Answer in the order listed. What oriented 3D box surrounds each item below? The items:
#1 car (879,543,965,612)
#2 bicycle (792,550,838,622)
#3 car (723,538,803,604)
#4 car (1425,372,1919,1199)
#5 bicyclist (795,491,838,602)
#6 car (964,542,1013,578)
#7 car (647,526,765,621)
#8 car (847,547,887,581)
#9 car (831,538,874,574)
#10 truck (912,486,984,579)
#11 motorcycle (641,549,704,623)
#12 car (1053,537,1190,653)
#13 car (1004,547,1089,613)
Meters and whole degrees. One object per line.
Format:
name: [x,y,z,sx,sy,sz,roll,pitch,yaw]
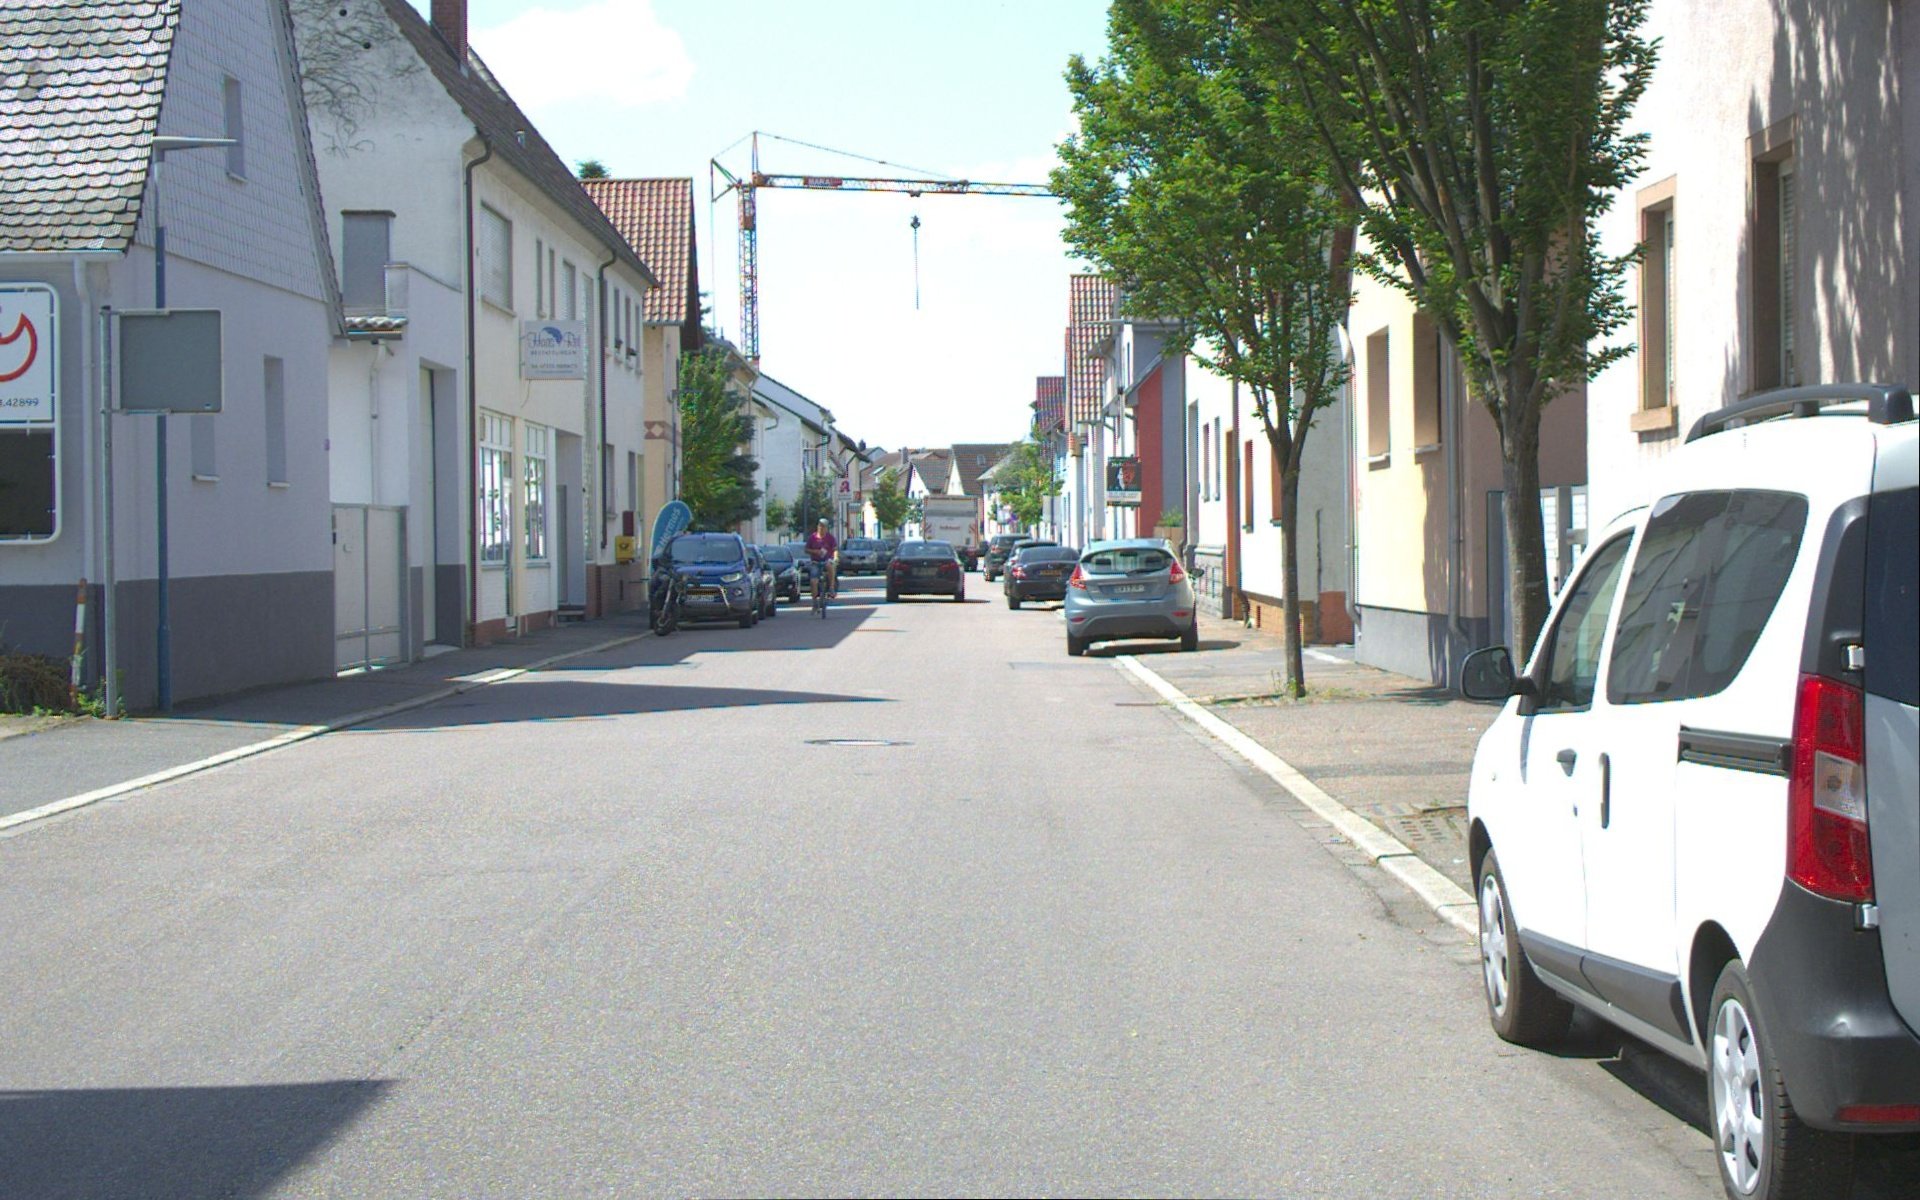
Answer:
car: [-0.882,-0.560,82.101,1.902,1.558,4.476,0,1,1]
bicycle: [-2.710,-0.272,64.602,0.751,1.303,2.685,1,1,-1]
car: [-4.833,-0.737,84.778,1.809,1.583,4.000,0,1,-1]
car: [2.405,0.395,8.735,1.719,1.784,4.144,-2,1,-2]
bicyclist: [-2.703,-1.009,64.679,0.740,2.052,0.844,1,0,-1]
car: [1.005,-1.435,122.903,1.719,1.264,4.157,0,1,0]
car: [-4.383,-0.482,59.742,1.809,1.583,4.000,0,1,-1]
car: [-4.341,-1.693,161.451,1.809,1.583,4.000,0,1,-1]
car: [-4.831,-2.009,154.846,1.809,1.583,4.000,0,1,-1]
truck: [-0.526,-3.177,164.648,3.145,4.236,9.302,1,1,1]
motorcycle: [-4.671,-0.233,55.972,0.846,1.166,2.469,1,1,-1]
car: [2.091,-0.104,45.478,1.719,1.456,4.156,0,1,2]
car: [1.829,-0.452,73.643,1.719,1.350,4.157,0,1,0]
